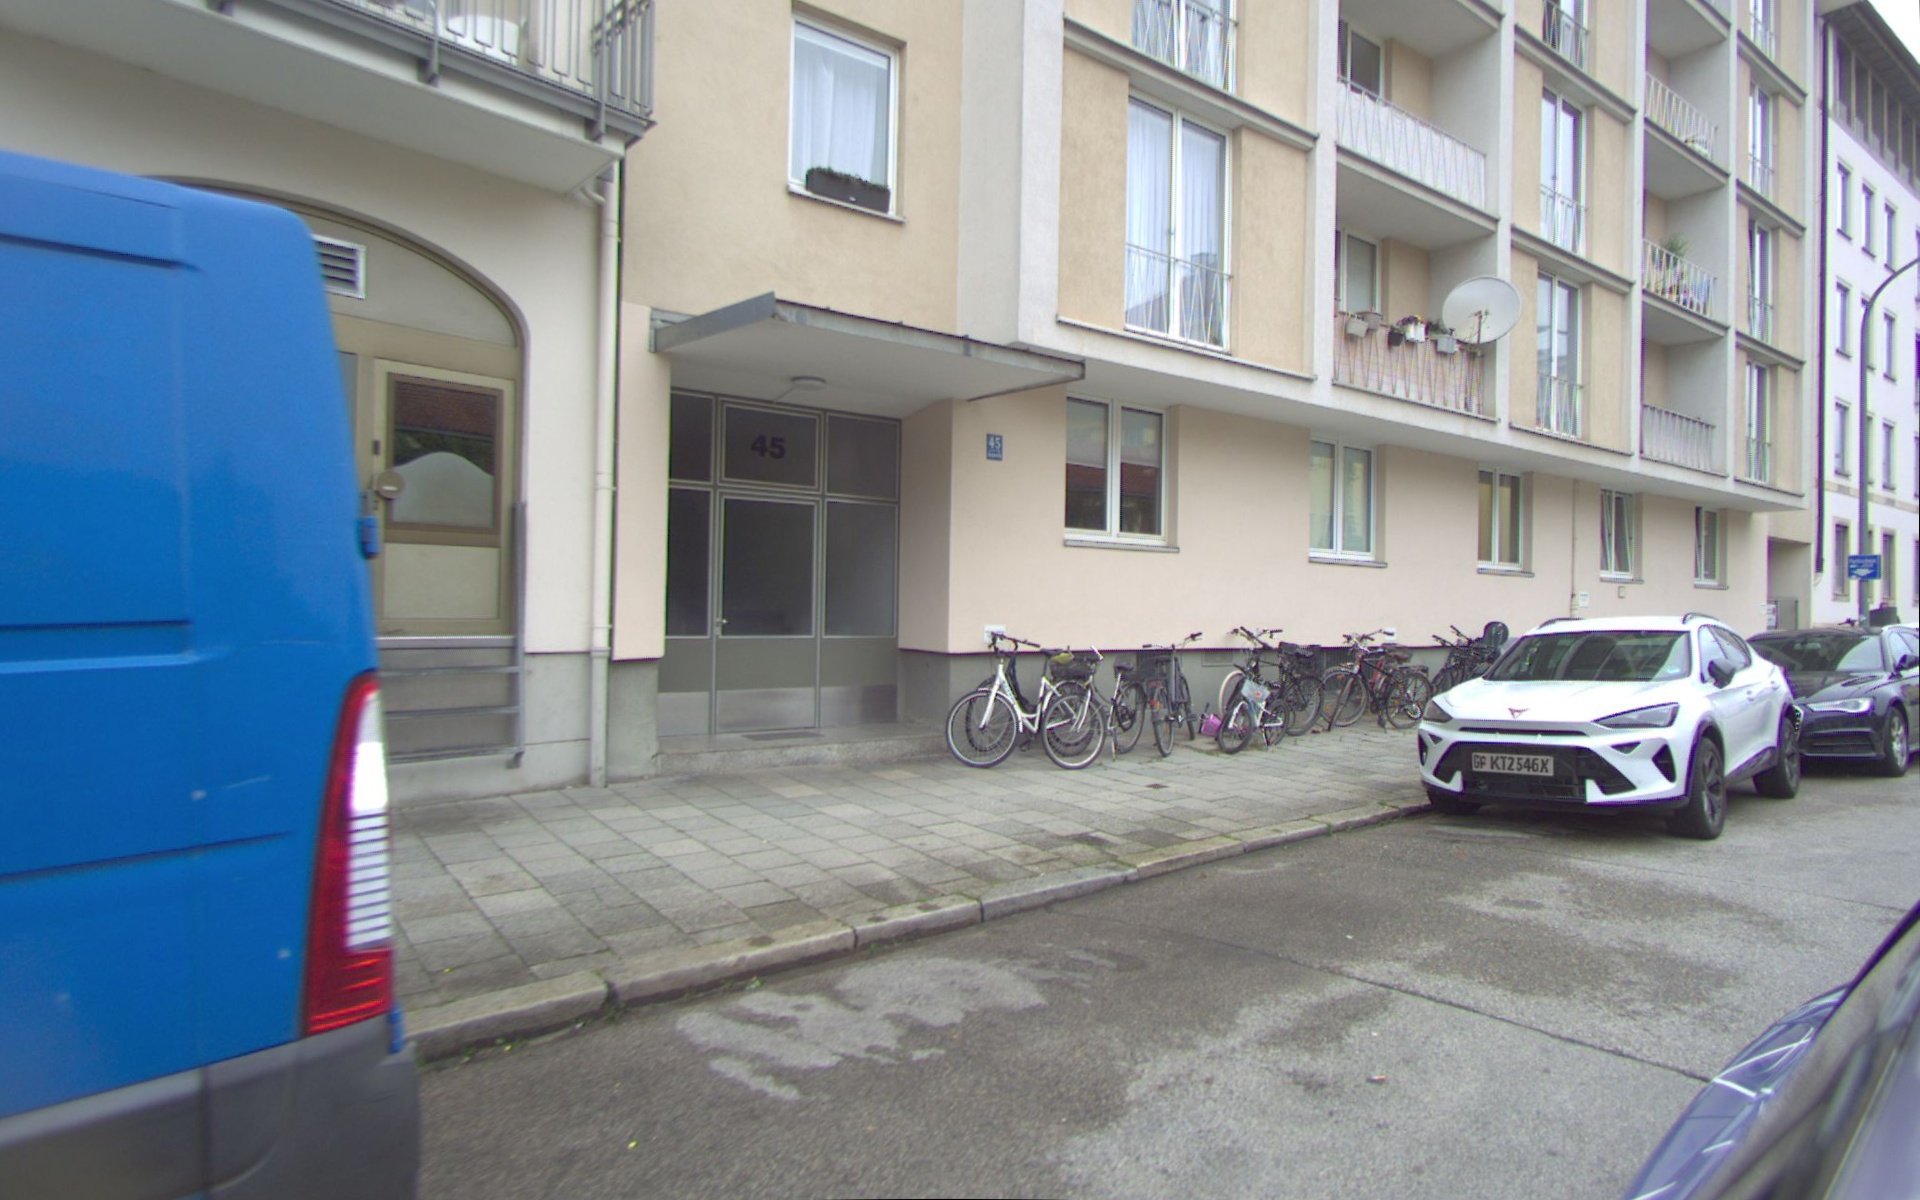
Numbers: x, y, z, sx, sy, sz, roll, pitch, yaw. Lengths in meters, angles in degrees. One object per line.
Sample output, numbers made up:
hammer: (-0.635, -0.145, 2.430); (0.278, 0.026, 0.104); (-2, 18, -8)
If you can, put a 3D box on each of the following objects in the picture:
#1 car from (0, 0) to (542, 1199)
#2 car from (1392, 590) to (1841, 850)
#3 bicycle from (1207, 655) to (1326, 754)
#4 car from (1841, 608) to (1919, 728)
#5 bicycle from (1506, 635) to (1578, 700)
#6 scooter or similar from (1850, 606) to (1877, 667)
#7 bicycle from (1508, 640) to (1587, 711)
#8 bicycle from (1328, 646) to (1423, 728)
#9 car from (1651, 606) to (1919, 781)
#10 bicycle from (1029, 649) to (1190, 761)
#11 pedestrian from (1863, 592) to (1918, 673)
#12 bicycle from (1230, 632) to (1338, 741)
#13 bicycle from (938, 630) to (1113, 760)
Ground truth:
car: (-3.445, 0.333, 1.039); (5.154, 2.262, 2.081); (-2, -3, -41)
car: (5.511, 0.785, 8.239); (4.565, 1.553, 1.788); (1, -3, -40)
bicycle: (3.152, 1.042, 10.367); (1.365, 0.916, 0.379); (1, -1, -34)
car: (13.906, 0.880, 13.969); (4.494, 1.508, 1.698); (1, -2, -37)
bicycle: (8.779, 1.003, 15.242); (1.365, 0.916, 0.379); (1, -1, -34)
scooter or similar: (21.786, 0.865, 24.405); (0.439, 1.375, 1.565); (0, 2, 44)
bicycle: (8.219, 1.040, 14.149); (1.365, 0.916, 0.379); (1, 1, -34)
bicycle: (5.075, 1.040, 12.330); (1.365, 0.916, 0.379); (1, -1, -34)
car: (9.826, 0.908, 11.188); (5.064, 1.542, 1.885); (1, -3, -35)
bicycle: (1.448, 0.963, 9.619); (1.703, 0.935, 0.456); (1, -1, -38)
pedestrian: (21.002, 0.711, 22.844); (0.887, 1.785, 0.725); (-1, 1, -34)
bicycle: (3.614, 0.932, 11.253); (1.365, 1.133, 0.379); (1, -1, -34)
bicycle: (0.661, 0.862, 9.708); (1.820, 1.125, 0.456); (1, -1, -38)
